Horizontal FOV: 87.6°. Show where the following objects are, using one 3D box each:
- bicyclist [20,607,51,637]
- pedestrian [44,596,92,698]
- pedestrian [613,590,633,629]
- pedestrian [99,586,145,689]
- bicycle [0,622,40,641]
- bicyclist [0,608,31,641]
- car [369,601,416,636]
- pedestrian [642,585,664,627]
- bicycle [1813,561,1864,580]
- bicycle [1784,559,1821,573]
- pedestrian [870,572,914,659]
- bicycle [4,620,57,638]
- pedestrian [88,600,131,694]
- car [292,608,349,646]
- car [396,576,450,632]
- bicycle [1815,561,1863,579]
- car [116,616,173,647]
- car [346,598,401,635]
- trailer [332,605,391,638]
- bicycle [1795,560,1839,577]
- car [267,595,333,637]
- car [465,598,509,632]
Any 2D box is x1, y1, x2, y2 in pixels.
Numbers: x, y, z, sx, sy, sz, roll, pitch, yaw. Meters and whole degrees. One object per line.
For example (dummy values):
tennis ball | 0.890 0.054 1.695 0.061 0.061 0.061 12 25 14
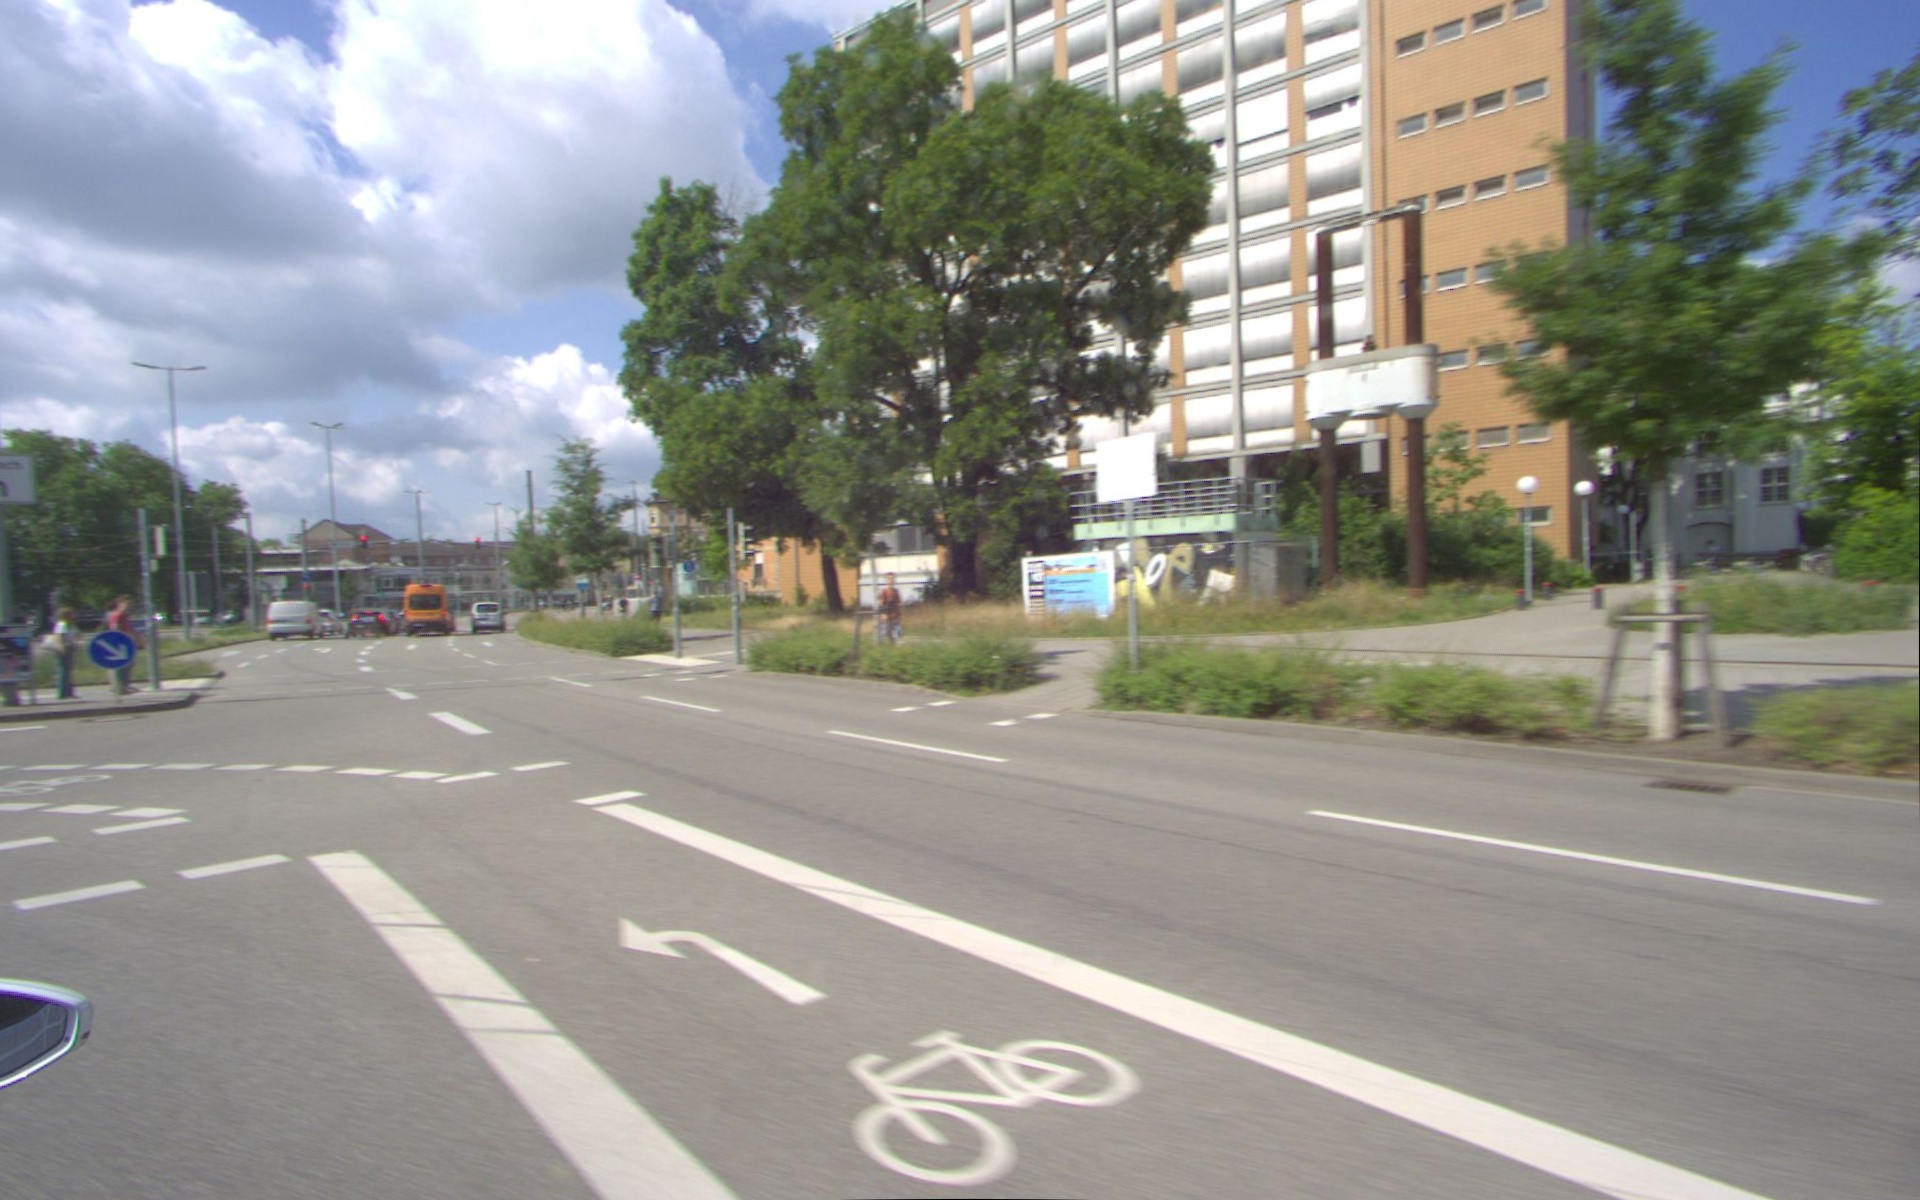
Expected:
bicyclist | -61.038 1.457 66.130 1.204 1.935 0.830 -2 2 -27
pedestrian | -15.835 0.811 17.785 0.520 1.757 0.619 -3 2 -38
pedestrian | -15.980 0.448 47.497 0.778 1.808 0.664 -2 2 -25
pedestrian | -14.622 0.641 17.492 0.520 1.757 0.619 -3 2 -38
bicycle | -58.740 1.951 62.043 2.350 1.081 0.854 -2 1 -27
bicyclist | -58.611 1.519 62.109 1.204 1.935 0.854 -2 2 -27
car | -34.941 1.115 61.762 1.965 1.965 4.622 -3 1 -23
pedestrian | -13.586 0.266 44.356 0.778 1.808 0.664 -2 2 -26
bicycle | 35.811 -1.199 40.827 0.504 0.729 1.543 -3 2 -45
bicycle | 46.393 -1.867 55.164 0.504 0.729 1.543 -3 2 -45
pedestrian | -1.409 0.313 20.673 0.654 1.757 0.573 -3 2 -40
bicycle | -61.268 1.899 66.017 2.350 1.081 0.839 -2 1 -27
pedestrian | -15.953 0.869 18.792 0.520 1.707 0.619 -3 2 -38
car | -36.912 1.498 57.914 1.965 1.965 4.622 -3 1 -23
car | -29.317 0.190 54.797 2.102 2.818 4.622 -3 1 -23
bicycle | 37.674 -1.275 42.924 0.504 0.729 1.543 -3 2 -45
car | -42.157 1.591 51.830 1.644 1.499 4.040 1 -1 -30
car | -32.270 0.880 55.218 1.967 1.851 3.987 -3 1 -22
trailer | -30.989 1.091 51.983 1.967 1.497 3.987 -3 1 -22
bicycle | 40.314 -1.469 47.124 0.504 0.729 1.543 -3 2 -45
car | -34.396 0.802 52.284 1.979 1.993 4.622 -3 1 -23
car | -27.334 0.812 57.982 1.966 1.819 3.987 -3 1 -22
